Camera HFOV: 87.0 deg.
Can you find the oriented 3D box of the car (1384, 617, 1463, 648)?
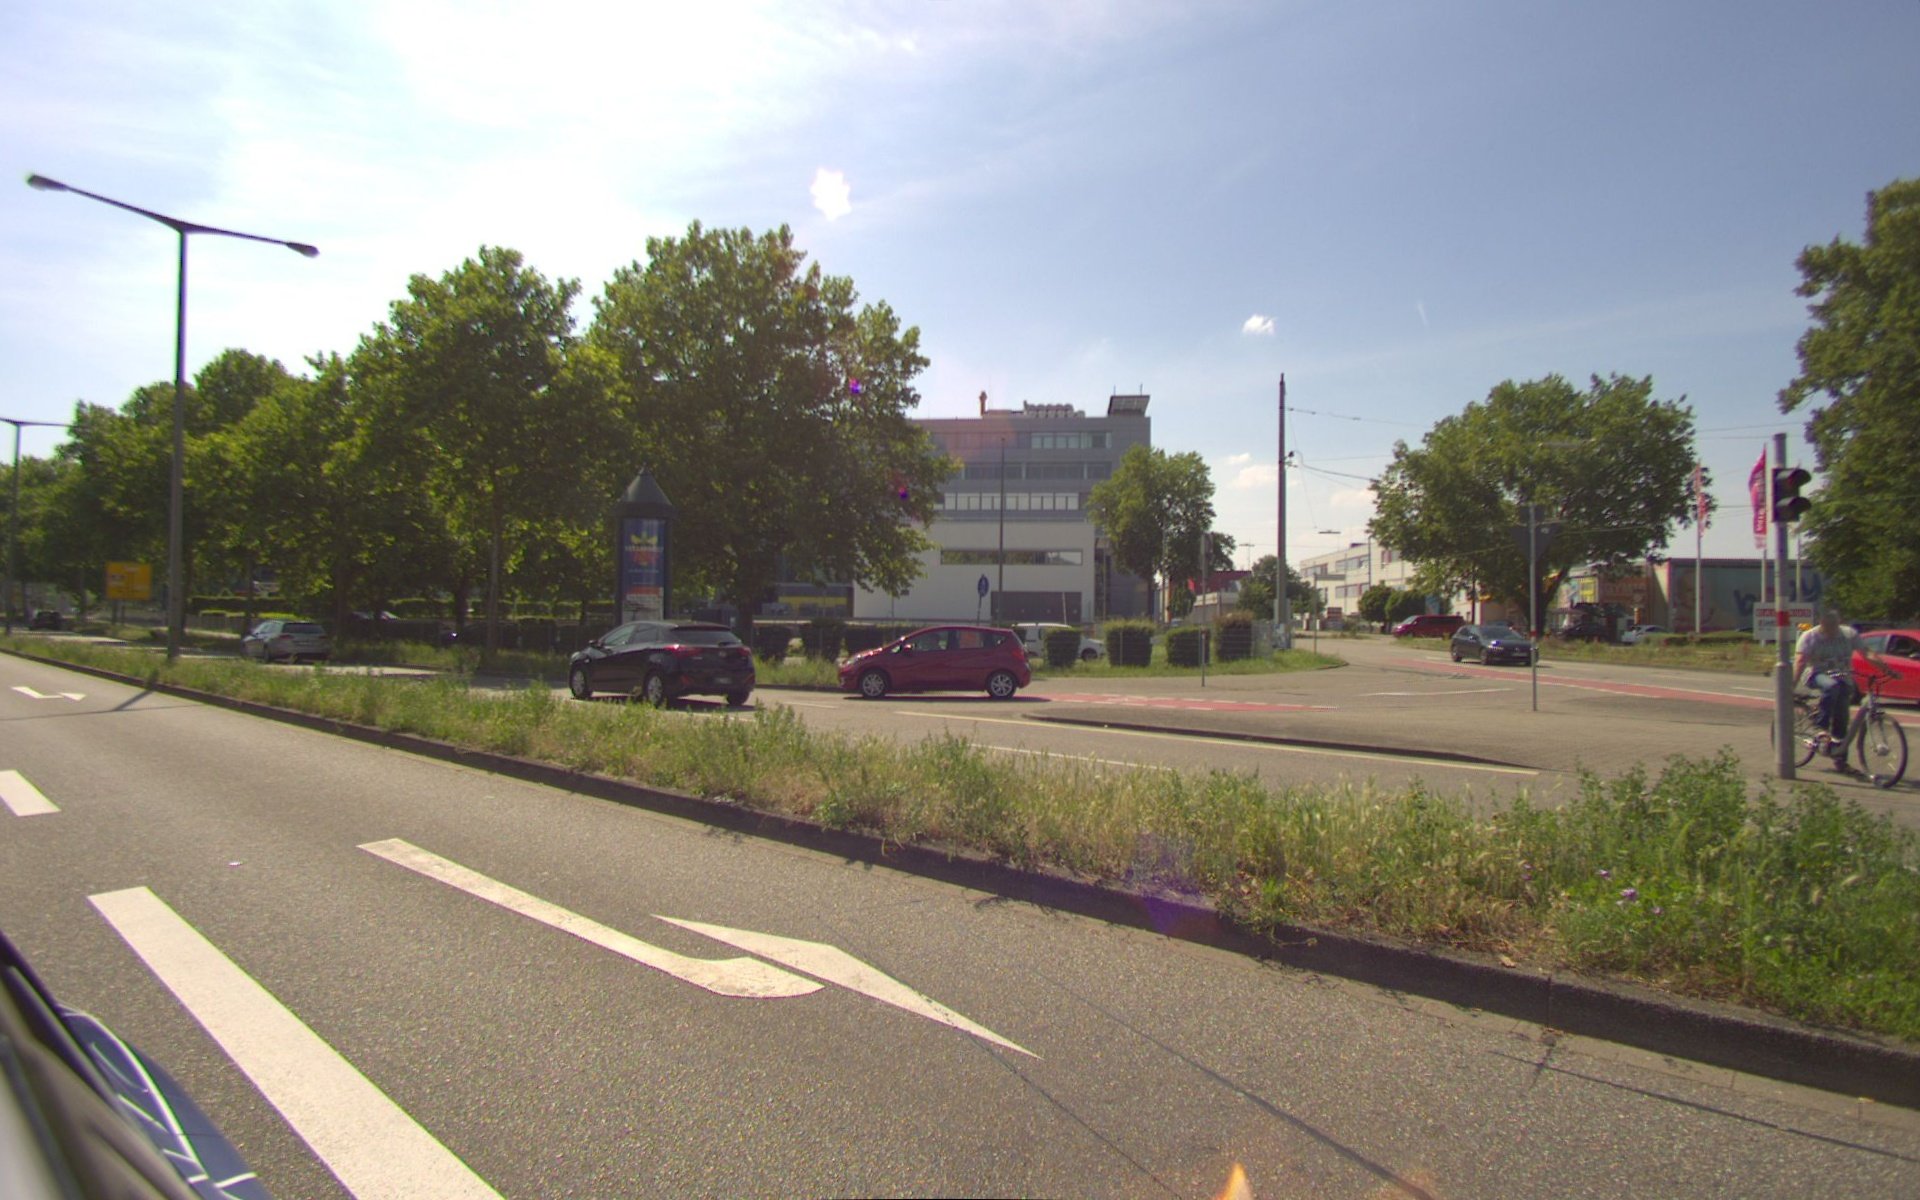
[{"bbox_3d":[35.189,2.456,76.903,4.981,2.295,2.147,0,-2,7],"label":"car"}]

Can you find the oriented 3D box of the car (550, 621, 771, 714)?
[{"bbox_3d":[-5.354,1.127,17.920,3.890,1.433,1.821,0,-2,39],"label":"car"}]

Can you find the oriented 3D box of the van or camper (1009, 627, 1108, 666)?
[{"bbox_3d":[4.514,2.121,46.740,4.453,1.705,1.998,0,-1,4],"label":"van or camper"}]

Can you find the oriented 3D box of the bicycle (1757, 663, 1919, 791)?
[{"bbox_3d":[8.958,1.213,10.198,0.520,1.072,2.157,0,-1,11],"label":"bicycle"}]

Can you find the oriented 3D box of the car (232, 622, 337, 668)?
[{"bbox_3d":[-22.734,1.496,34.026,4.219,1.433,1.820,-1,-4,41],"label":"car"}]

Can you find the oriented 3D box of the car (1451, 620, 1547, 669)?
[{"bbox_3d":[19.608,1.588,36.993,1.979,1.712,3.986,0,-2,11],"label":"car"}]

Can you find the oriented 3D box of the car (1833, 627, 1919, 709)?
[{"bbox_3d":[18.016,1.222,17.934,1.824,1.460,3.993,0,-2,5],"label":"car"}]

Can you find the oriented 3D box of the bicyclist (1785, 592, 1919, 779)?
[{"bbox_3d":[9.013,0.836,10.262,0.698,1.802,0.765,0,-2,12],"label":"bicyclist"}]

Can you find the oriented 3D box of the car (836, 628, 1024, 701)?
[{"bbox_3d":[-0.614,1.318,20.997,3.713,1.445,1.854,0,-3,-1],"label":"car"}]

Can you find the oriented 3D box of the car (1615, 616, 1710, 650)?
[{"bbox_3d":[48.953,2.279,70.608,4.981,2.295,2.147,0,-2,7],"label":"car"}]
